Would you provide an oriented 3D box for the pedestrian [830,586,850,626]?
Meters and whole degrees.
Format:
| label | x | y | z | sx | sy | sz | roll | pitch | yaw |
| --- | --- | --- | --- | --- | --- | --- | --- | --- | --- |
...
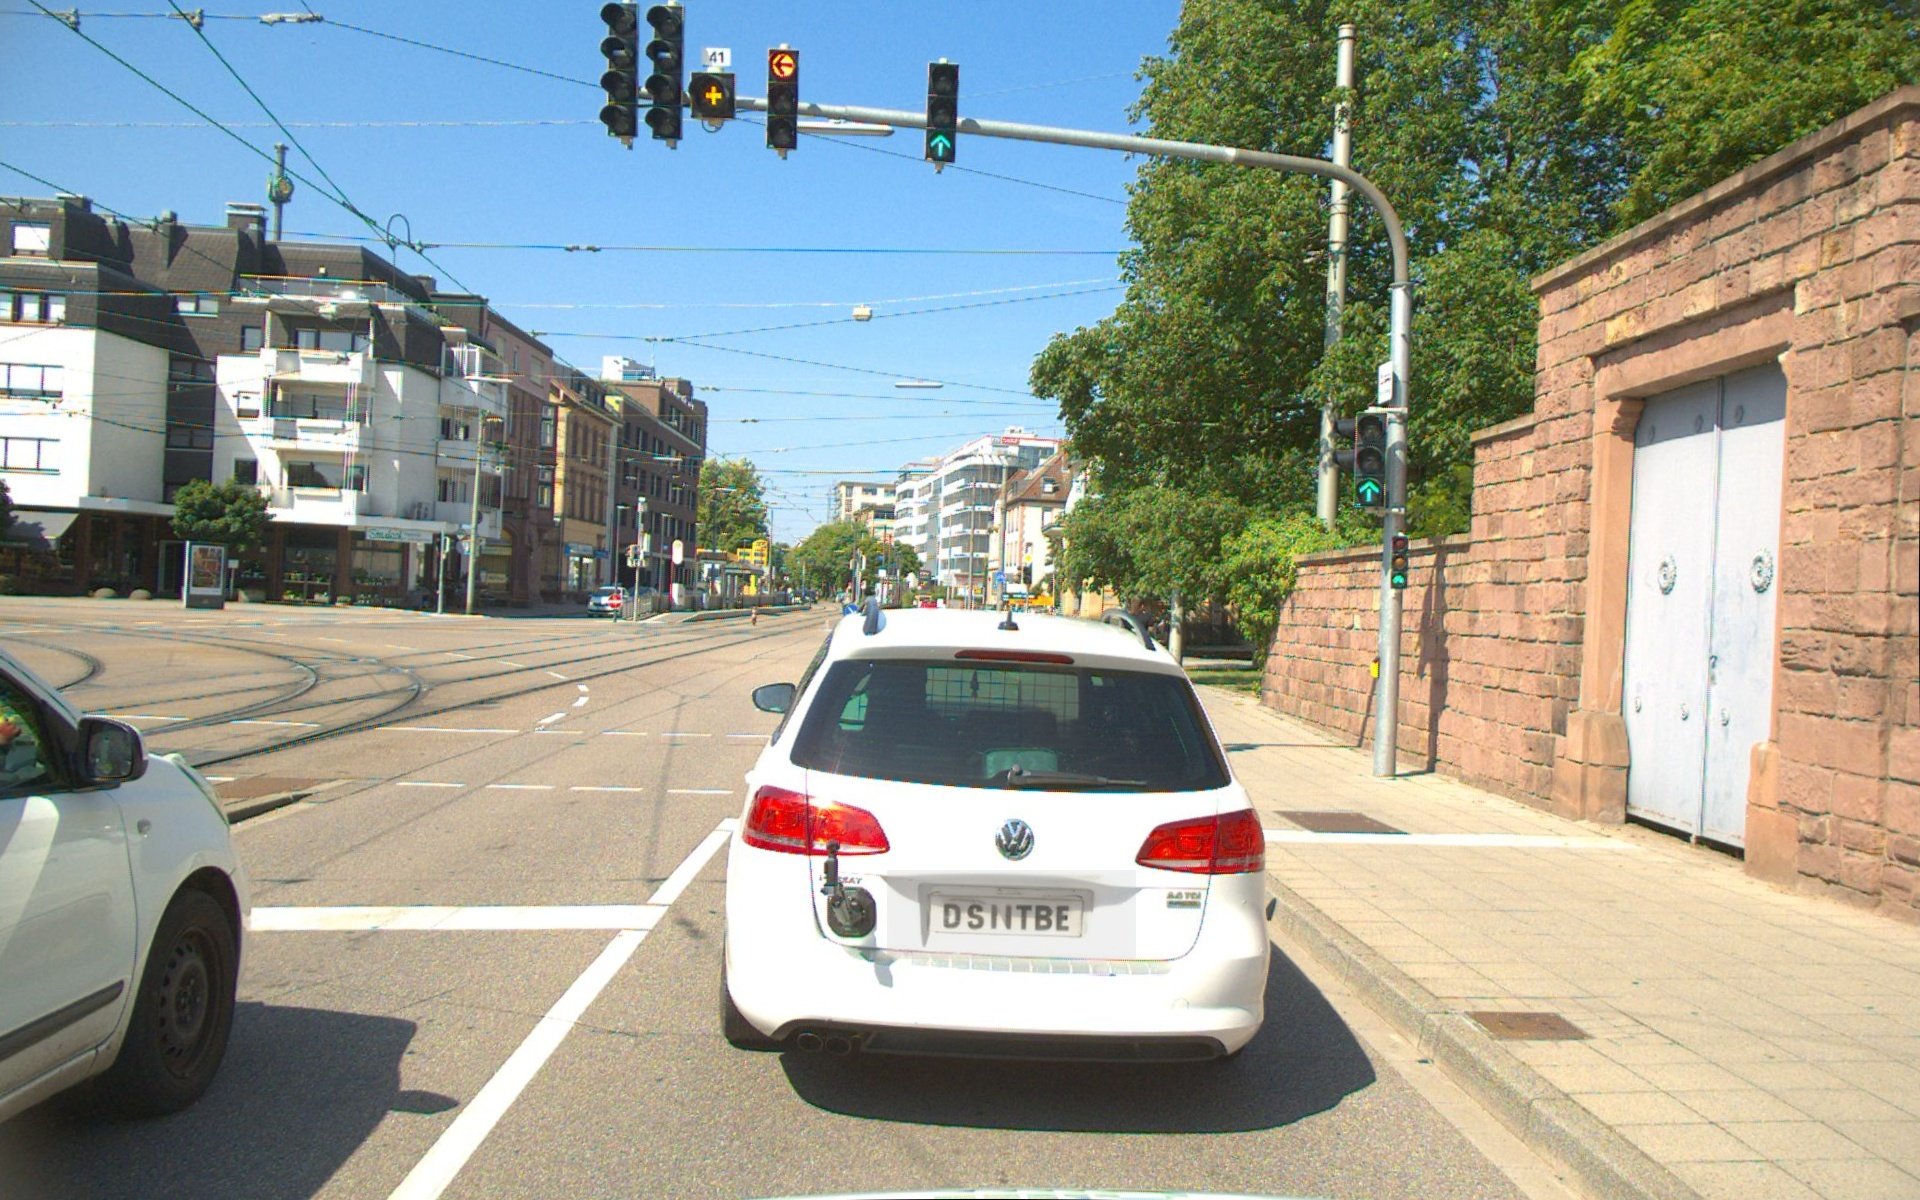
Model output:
| label | x | y | z | sx | sy | sz | roll | pitch | yaw |
| --- | --- | --- | --- | --- | --- | --- | --- | --- | --- |
| pedestrian | -5.499 | 0.274 | 75.928 | 0.810 | 1.841 | 0.833 | 2 | 0 | -1 |

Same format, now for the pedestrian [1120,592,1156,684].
| label | x | y | z | sx | sy | sz | roll | pitch | yaw |
| --- | --- | --- | --- | --- | --- | --- | --- | --- | --- |
| pedestrian | 3.089 | 0.650 | 28.704 | 0.529 | 1.576 | 0.663 | 0 | 0 | -2 |

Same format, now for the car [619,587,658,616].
| label | x | y | z | sx | sy | sz | roll | pitch | yaw |
| --- | --- | --- | --- | --- | --- | --- | --- | --- | --- |
| car | -17.057 | 0.069 | 87.841 | 1.542 | 1.484 | 3.811 | 2 | 0 | -4 |

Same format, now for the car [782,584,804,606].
| label | x | y | z | sx | sy | sz | roll | pitch | yaw |
| --- | --- | --- | --- | --- | --- | --- | --- | --- | --- |
| car | -16.417 | -0.486 | 162.786 | 1.954 | 2.049 | 3.998 | 1 | 0 | -3 |

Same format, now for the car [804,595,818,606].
| label | x | y | z | sx | sy | sz | roll | pitch | yaw |
| --- | --- | --- | --- | --- | --- | --- | --- | --- | --- |
| car | -20.613 | 0.065 | 228.693 | 1.634 | 1.492 | 3.772 | 2 | 0 | -1 |

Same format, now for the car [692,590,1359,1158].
| label | x | y | z | sx | sy | sz | roll | pitch | yaw |
| --- | --- | --- | --- | --- | --- | --- | --- | --- | --- |
| car | 0.153 | 0.726 | 6.310 | 1.717 | 1.442 | 3.852 | 2 | 0 | -1 |

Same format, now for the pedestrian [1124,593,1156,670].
| label | x | y | z | sx | sy | sz | roll | pitch | yaw |
| --- | --- | --- | --- | --- | --- | --- | --- | --- | --- |
| pedestrian | 4.073 | 0.701 | 37.439 | 0.636 | 1.711 | 0.708 | 2 | 0 | 6 |

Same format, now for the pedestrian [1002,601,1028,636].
| label | x | y | z | sx | sy | sz | roll | pitch | yaw |
| --- | --- | --- | --- | --- | --- | --- | --- | --- | --- |
| pedestrian | 2.432 | 0.816 | 73.142 | 0.843 | 1.536 | 0.777 | 2 | 0 | 40 |

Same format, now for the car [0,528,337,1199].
| label | x | y | z | sx | sy | sz | roll | pitch | yaw |
| --- | --- | --- | --- | --- | --- | --- | --- | --- | --- |
| car | -2.905 | 0.625 | 3.401 | 1.730 | 1.588 | 4.066 | 1 | 0 | -1 |

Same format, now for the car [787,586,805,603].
| label | x | y | z | sx | sy | sz | roll | pitch | yaw |
| --- | --- | --- | --- | --- | --- | --- | --- | --- | --- |
| car | -19.833 | -0.640 | 199.839 | 1.954 | 2.049 | 3.998 | 1 | 0 | -3 |

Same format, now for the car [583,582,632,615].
| label | x | y | z | sx | sy | sz | roll | pitch | yaw |
| --- | --- | --- | --- | --- | --- | --- | --- | --- | --- |
| car | -17.017 | -0.077 | 79.965 | 1.593 | 1.456 | 3.961 | 4 | 0 | -3 |

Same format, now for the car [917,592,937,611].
| label | x | y | z | sx | sy | sz | roll | pitch | yaw |
| --- | --- | --- | --- | --- | --- | --- | --- | --- | --- |
| car | -3.825 | 0.151 | 192.334 | 1.955 | 2.049 | 3.995 | 2 | 0 | -6 |

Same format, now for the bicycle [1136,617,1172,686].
| label | x | y | z | sx | sy | sz | roll | pitch | yaw |
| --- | --- | --- | --- | --- | --- | --- | --- | --- | --- |
| bicycle | 3.350 | 0.872 | 28.497 | 0.524 | 1.131 | 1.808 | 1 | -1 | 8 |

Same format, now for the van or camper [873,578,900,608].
| label | x | y | z | sx | sy | sz | roll | pitch | yaw |
| --- | --- | --- | --- | --- | --- | --- | --- | --- | --- |
| van or camper | -8.344 | -0.814 | 186.773 | 2.885 | 3.235 | 6.609 | 2 | 0 | -3 |

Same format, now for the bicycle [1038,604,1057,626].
| label | x | y | z | sx | sy | sz | roll | pitch | yaw |
| --- | --- | --- | --- | --- | --- | --- | --- | --- | --- |
| bicycle | 4.774 | 0.820 | 90.189 | 0.710 | 1.159 | 2.196 | 2 | 0 | 11 |
